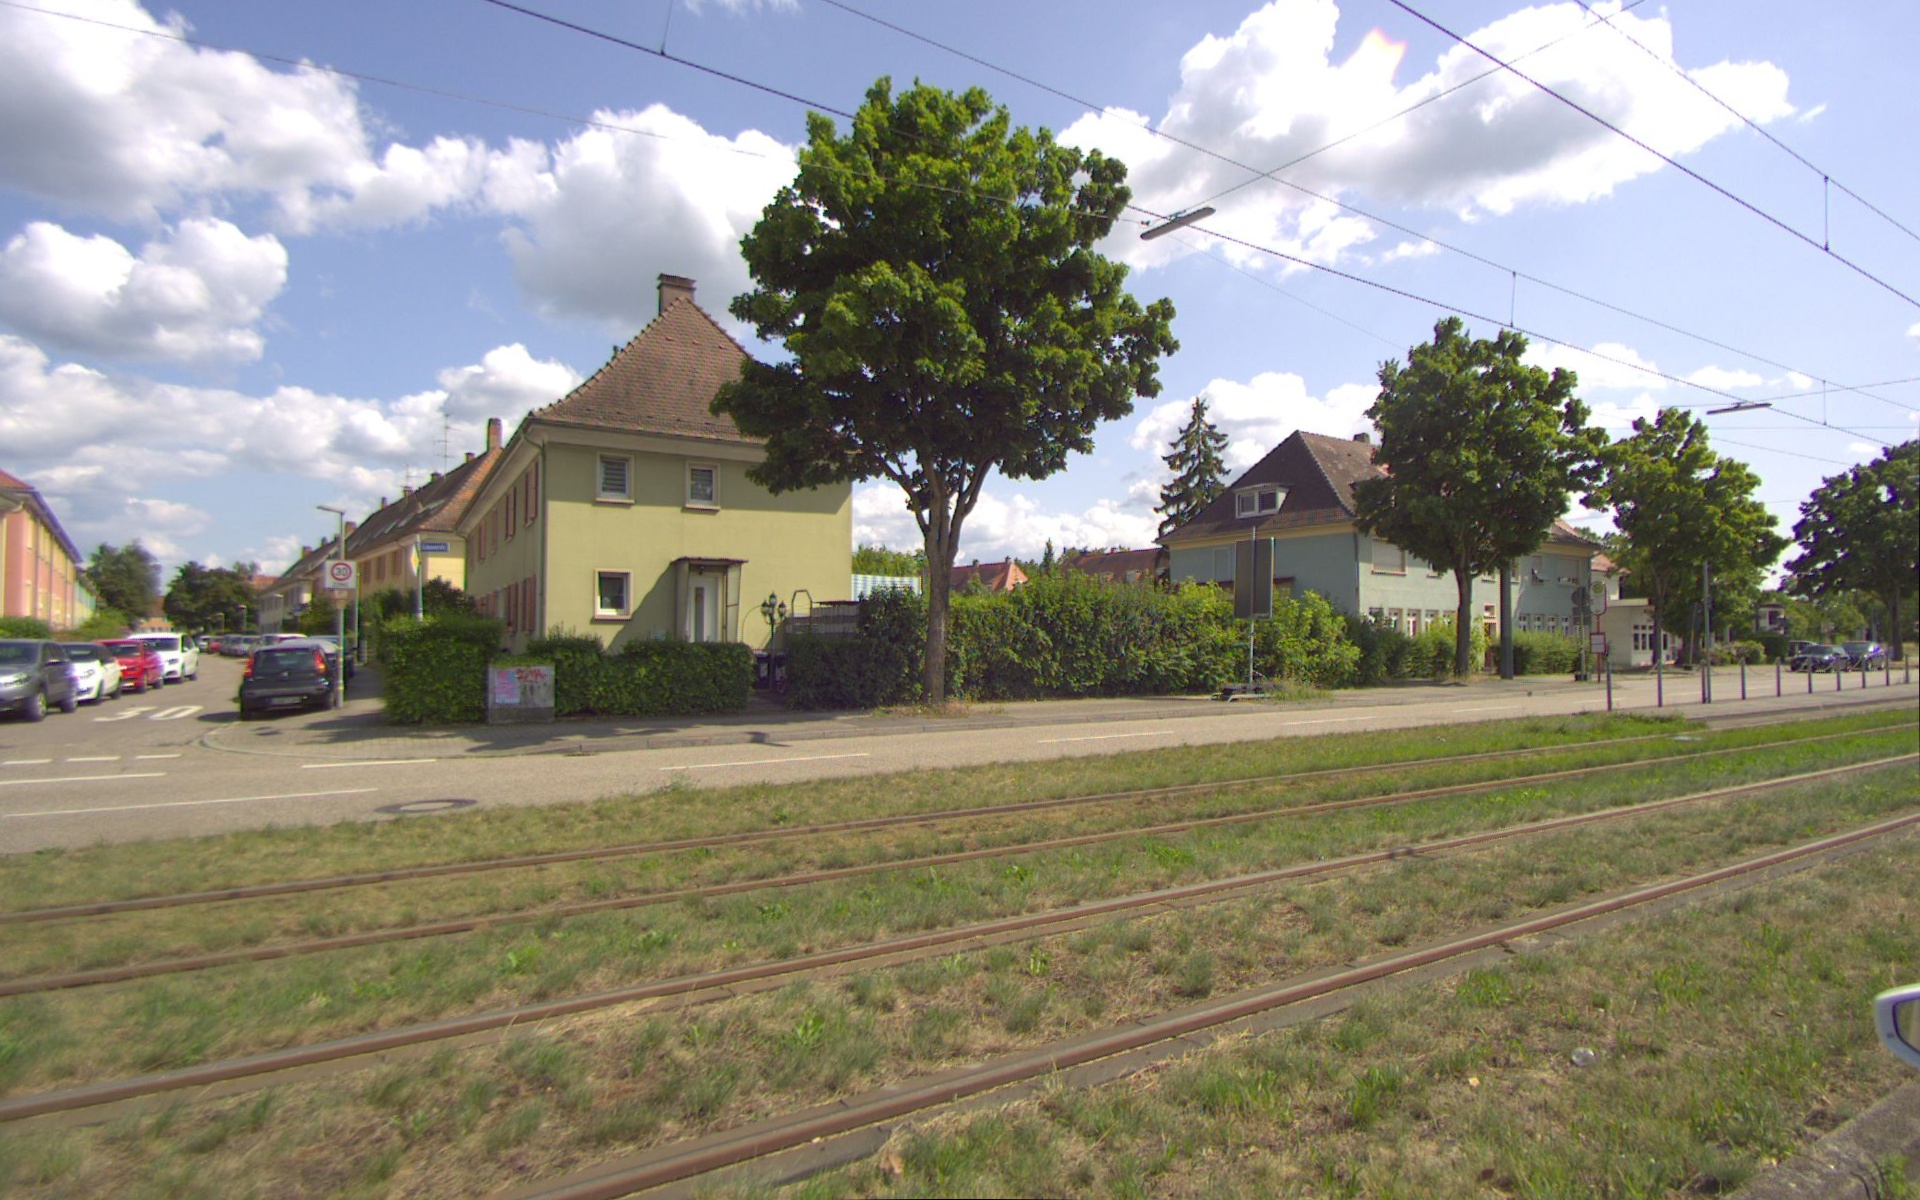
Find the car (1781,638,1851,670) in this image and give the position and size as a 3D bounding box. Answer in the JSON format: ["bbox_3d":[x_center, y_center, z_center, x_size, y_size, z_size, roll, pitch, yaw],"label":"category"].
[{"bbox_3d":[44.991,2.824,52.766,3.888,1.605,1.776,2,-2,-33],"label":"car"}]

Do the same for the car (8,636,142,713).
[{"bbox_3d":[-21.671,1.771,24.748,1.707,1.720,3.725,1,-3,-30],"label":"car"}]

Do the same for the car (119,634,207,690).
[{"bbox_3d":[-26.987,2.070,34.111,1.706,1.751,3.726,1,-3,-29],"label":"car"}]

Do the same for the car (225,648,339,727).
[{"bbox_3d":[-14.539,1.804,21.701,1.873,1.487,3.721,1,-2,-32],"label":"car"}]

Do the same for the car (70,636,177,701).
[{"bbox_3d":[-24.053,1.934,29.017,1.706,1.720,3.725,1,-3,-30],"label":"car"}]

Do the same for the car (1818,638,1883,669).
[{"bbox_3d":[50.001,2.976,56.374,4.715,1.635,2.043,2,-2,-40],"label":"car"}]

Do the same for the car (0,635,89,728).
[{"bbox_3d":[-18.814,1.563,19.817,1.802,1.708,3.723,1,-3,-31],"label":"car"}]
